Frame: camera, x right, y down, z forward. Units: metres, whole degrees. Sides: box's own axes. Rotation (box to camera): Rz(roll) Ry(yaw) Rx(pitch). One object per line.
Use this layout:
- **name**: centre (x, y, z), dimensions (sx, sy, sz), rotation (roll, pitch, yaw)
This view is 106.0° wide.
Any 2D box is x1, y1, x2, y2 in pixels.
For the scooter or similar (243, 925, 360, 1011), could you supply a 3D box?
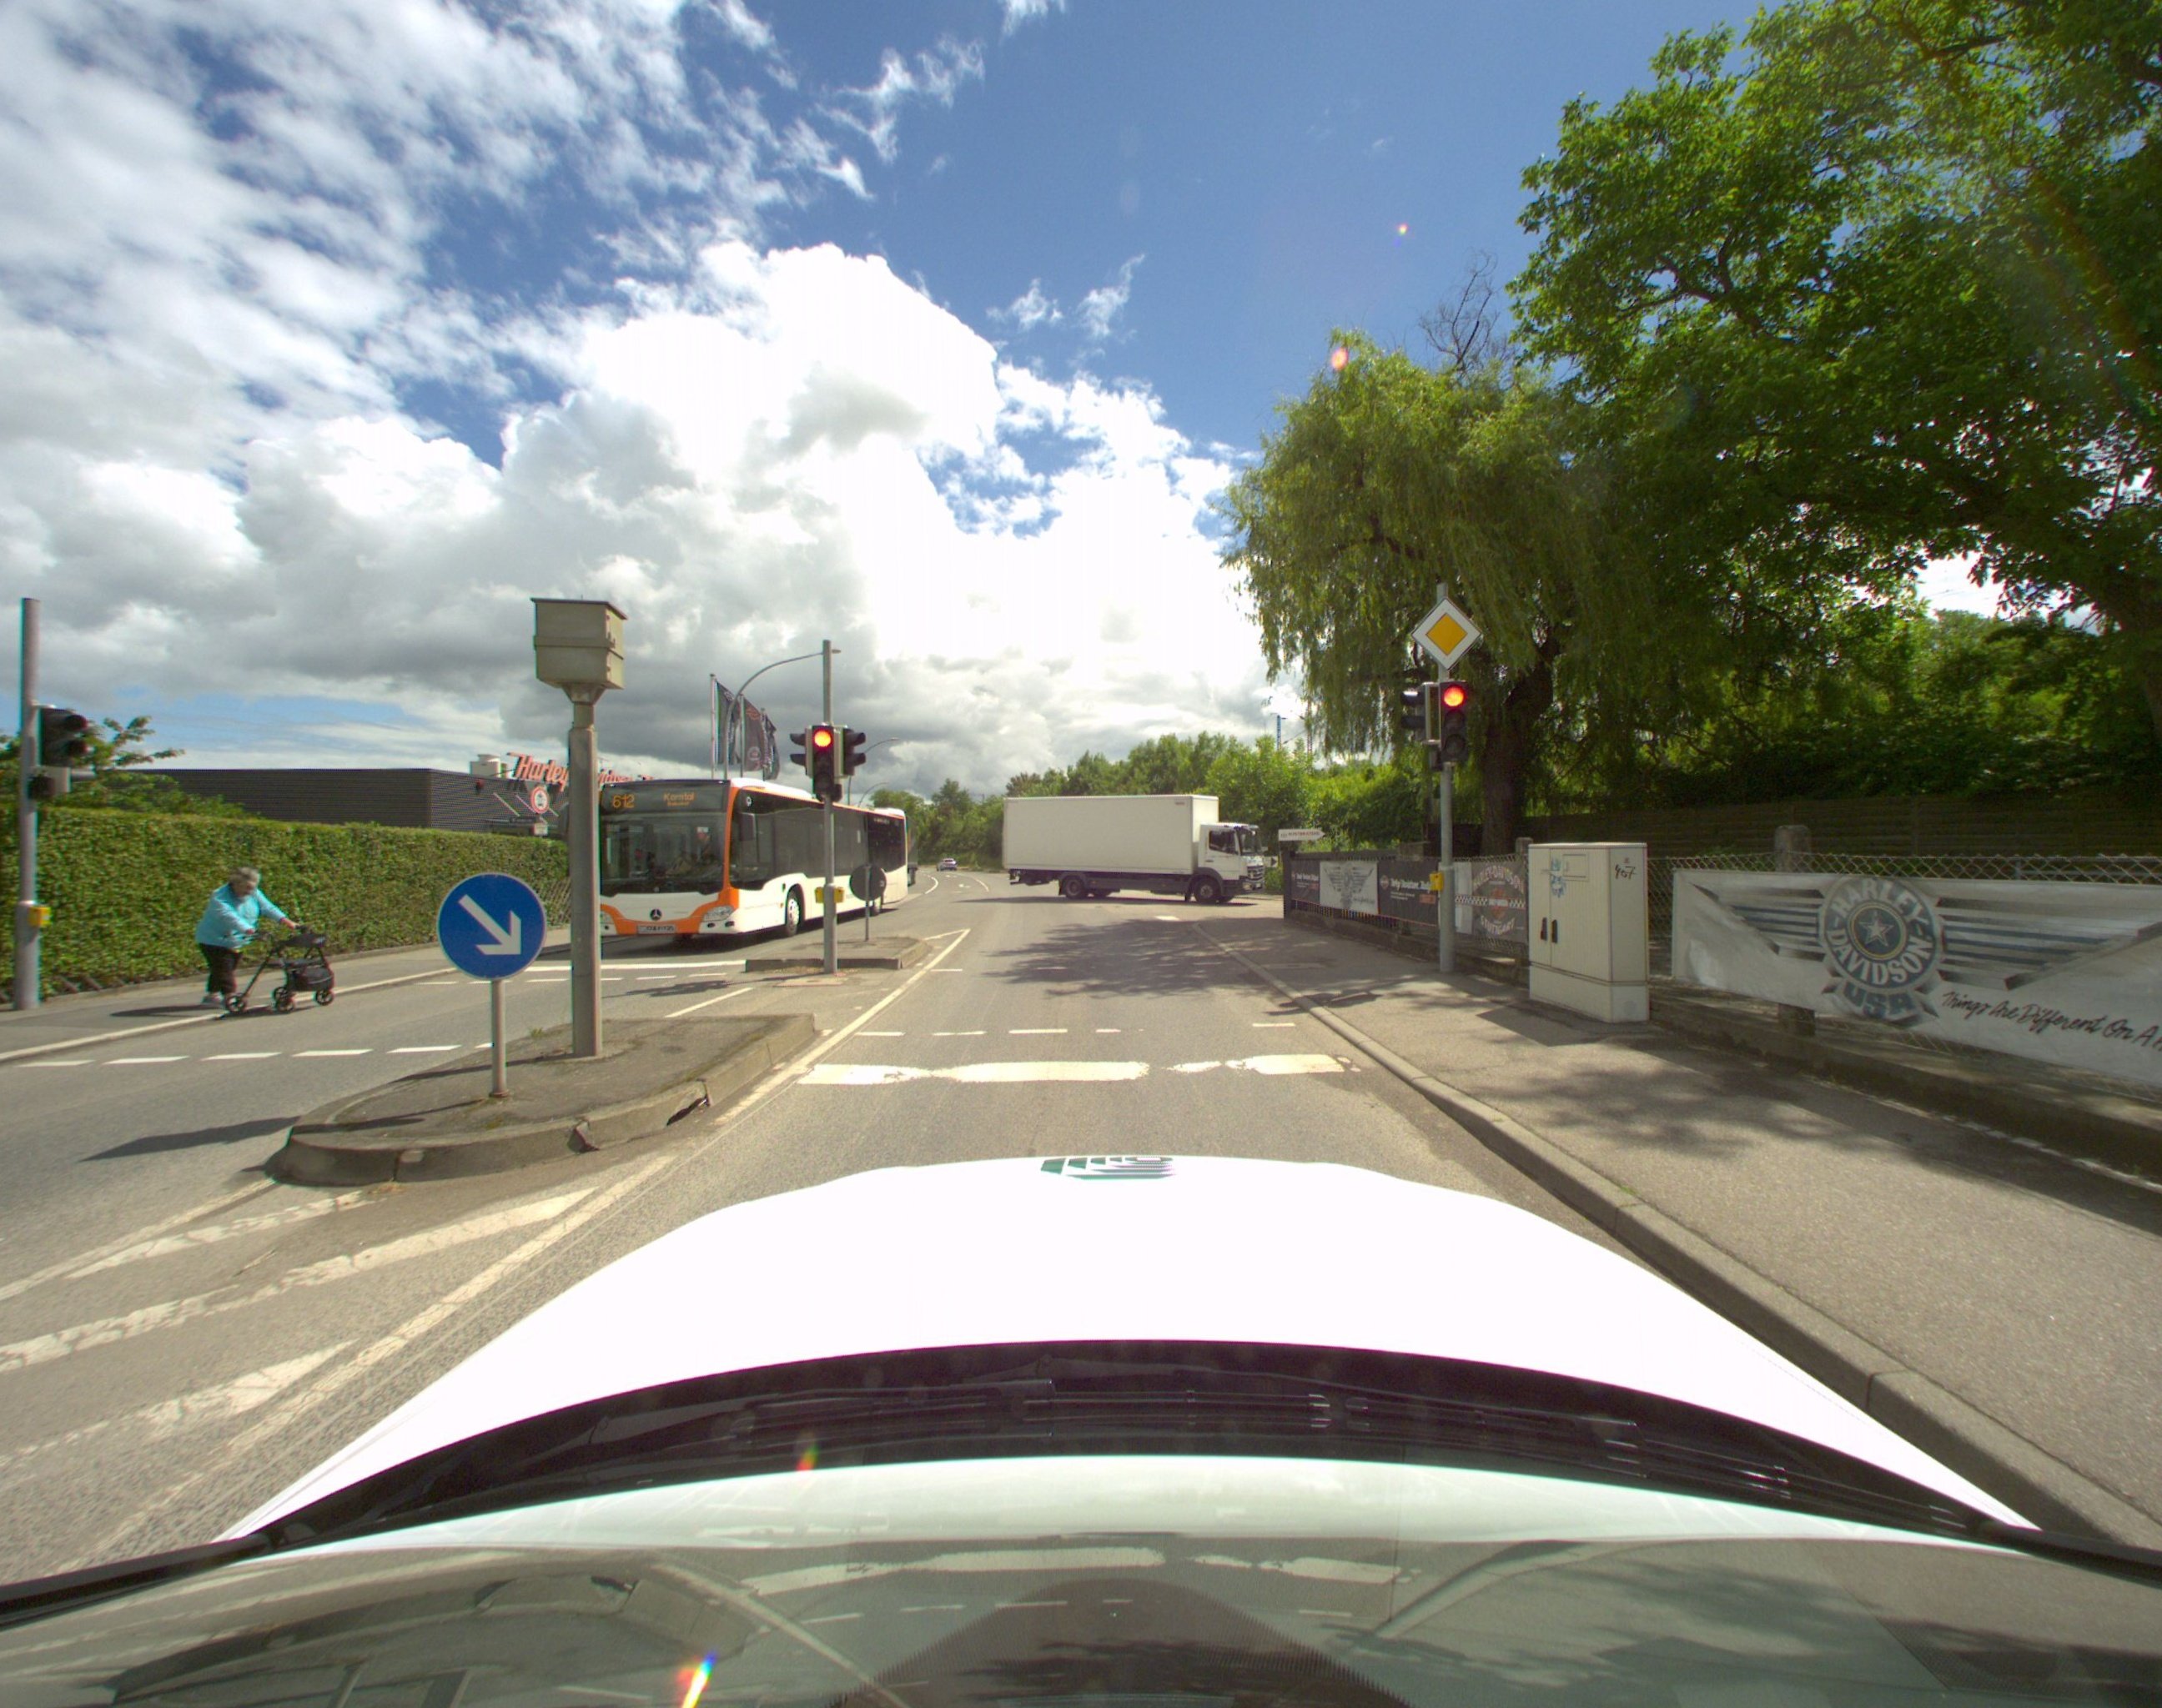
- **scooter or similar**: centre (-8.410, 1.220, 8.816), dimensions (0.609, 0.831, 0.659), rotation (1, 0, 0)

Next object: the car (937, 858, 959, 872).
- **car**: centre (-15.525, 1.253, 94.837), dimensions (1.890, 1.508, 3.974), rotation (0, 0, -19)

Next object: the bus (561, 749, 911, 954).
- **bus**: centre (-6.921, -0.006, 19.382), dimensions (2.767, 3.266, 12.127), rotation (-2, 0, 2)

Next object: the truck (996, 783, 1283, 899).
- **truck**: centre (1.849, -0.334, 28.373), dimensions (9.600, 3.541, 2.867), rotation (-1, 0, 29)

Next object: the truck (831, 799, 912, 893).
- **truck**: centre (-10.211, -0.304, 40.595), dimensions (2.425, 4.131, 9.132), rotation (1, -1, -5)

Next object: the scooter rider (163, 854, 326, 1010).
- **scooter rider**: centre (-9.033, 0.811, 8.834), dimensions (0.875, 1.589, 0.796), rotation (2, 0, 0)
